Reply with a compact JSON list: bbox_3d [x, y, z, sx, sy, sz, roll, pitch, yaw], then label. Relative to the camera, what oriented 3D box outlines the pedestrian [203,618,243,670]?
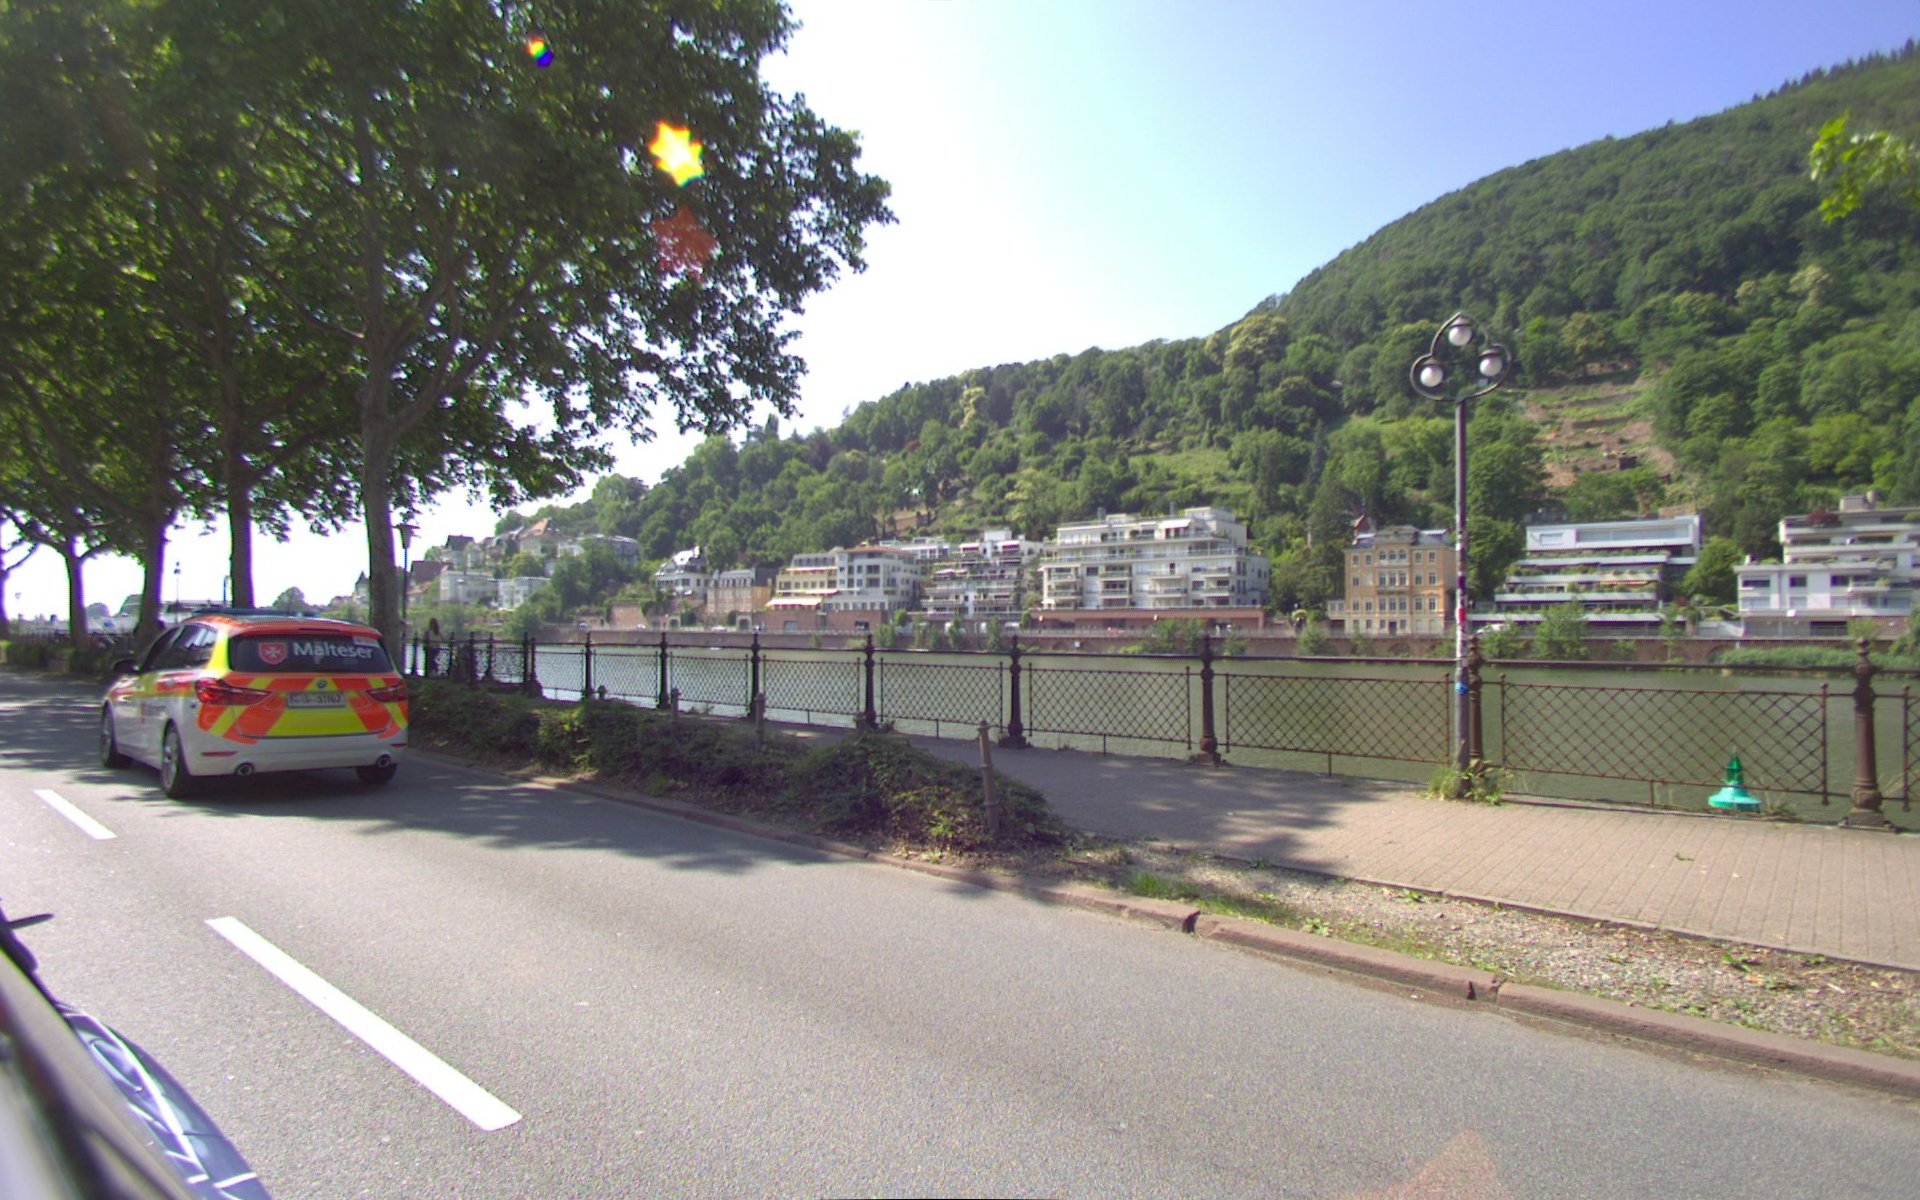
[{"bbox_3d":[-29.407,1.744,40.410,1.032,2.029,1.038,-1,0,-19],"label":"pedestrian"}]

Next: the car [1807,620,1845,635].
[{"bbox_3d":[126.015,4.002,147.288,3.998,2.029,1.973,-3,-2,41],"label":"car"}]

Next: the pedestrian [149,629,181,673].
[{"bbox_3d":[-31.338,2.000,39.878,0.885,1.647,1.060,0,0,-44],"label":"pedestrian"}]

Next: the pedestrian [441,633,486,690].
[{"bbox_3d":[-12.598,1.547,25.687,0.770,1.398,0.758,-2,-3,40],"label":"pedestrian"}]

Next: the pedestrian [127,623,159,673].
[{"bbox_3d":[-31.488,1.829,38.993,0.928,1.863,0.796,-1,0,41],"label":"pedestrian"}]

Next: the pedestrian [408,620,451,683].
[{"bbox_3d":[-15.130,1.463,28.861,0.829,1.771,0.767,-2,-4,40],"label":"pedestrian"}]

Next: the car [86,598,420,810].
[{"bbox_3d":[-7.139,0.926,10.054,4.220,1.673,1.656,-2,-5,41],"label":"car"}]
